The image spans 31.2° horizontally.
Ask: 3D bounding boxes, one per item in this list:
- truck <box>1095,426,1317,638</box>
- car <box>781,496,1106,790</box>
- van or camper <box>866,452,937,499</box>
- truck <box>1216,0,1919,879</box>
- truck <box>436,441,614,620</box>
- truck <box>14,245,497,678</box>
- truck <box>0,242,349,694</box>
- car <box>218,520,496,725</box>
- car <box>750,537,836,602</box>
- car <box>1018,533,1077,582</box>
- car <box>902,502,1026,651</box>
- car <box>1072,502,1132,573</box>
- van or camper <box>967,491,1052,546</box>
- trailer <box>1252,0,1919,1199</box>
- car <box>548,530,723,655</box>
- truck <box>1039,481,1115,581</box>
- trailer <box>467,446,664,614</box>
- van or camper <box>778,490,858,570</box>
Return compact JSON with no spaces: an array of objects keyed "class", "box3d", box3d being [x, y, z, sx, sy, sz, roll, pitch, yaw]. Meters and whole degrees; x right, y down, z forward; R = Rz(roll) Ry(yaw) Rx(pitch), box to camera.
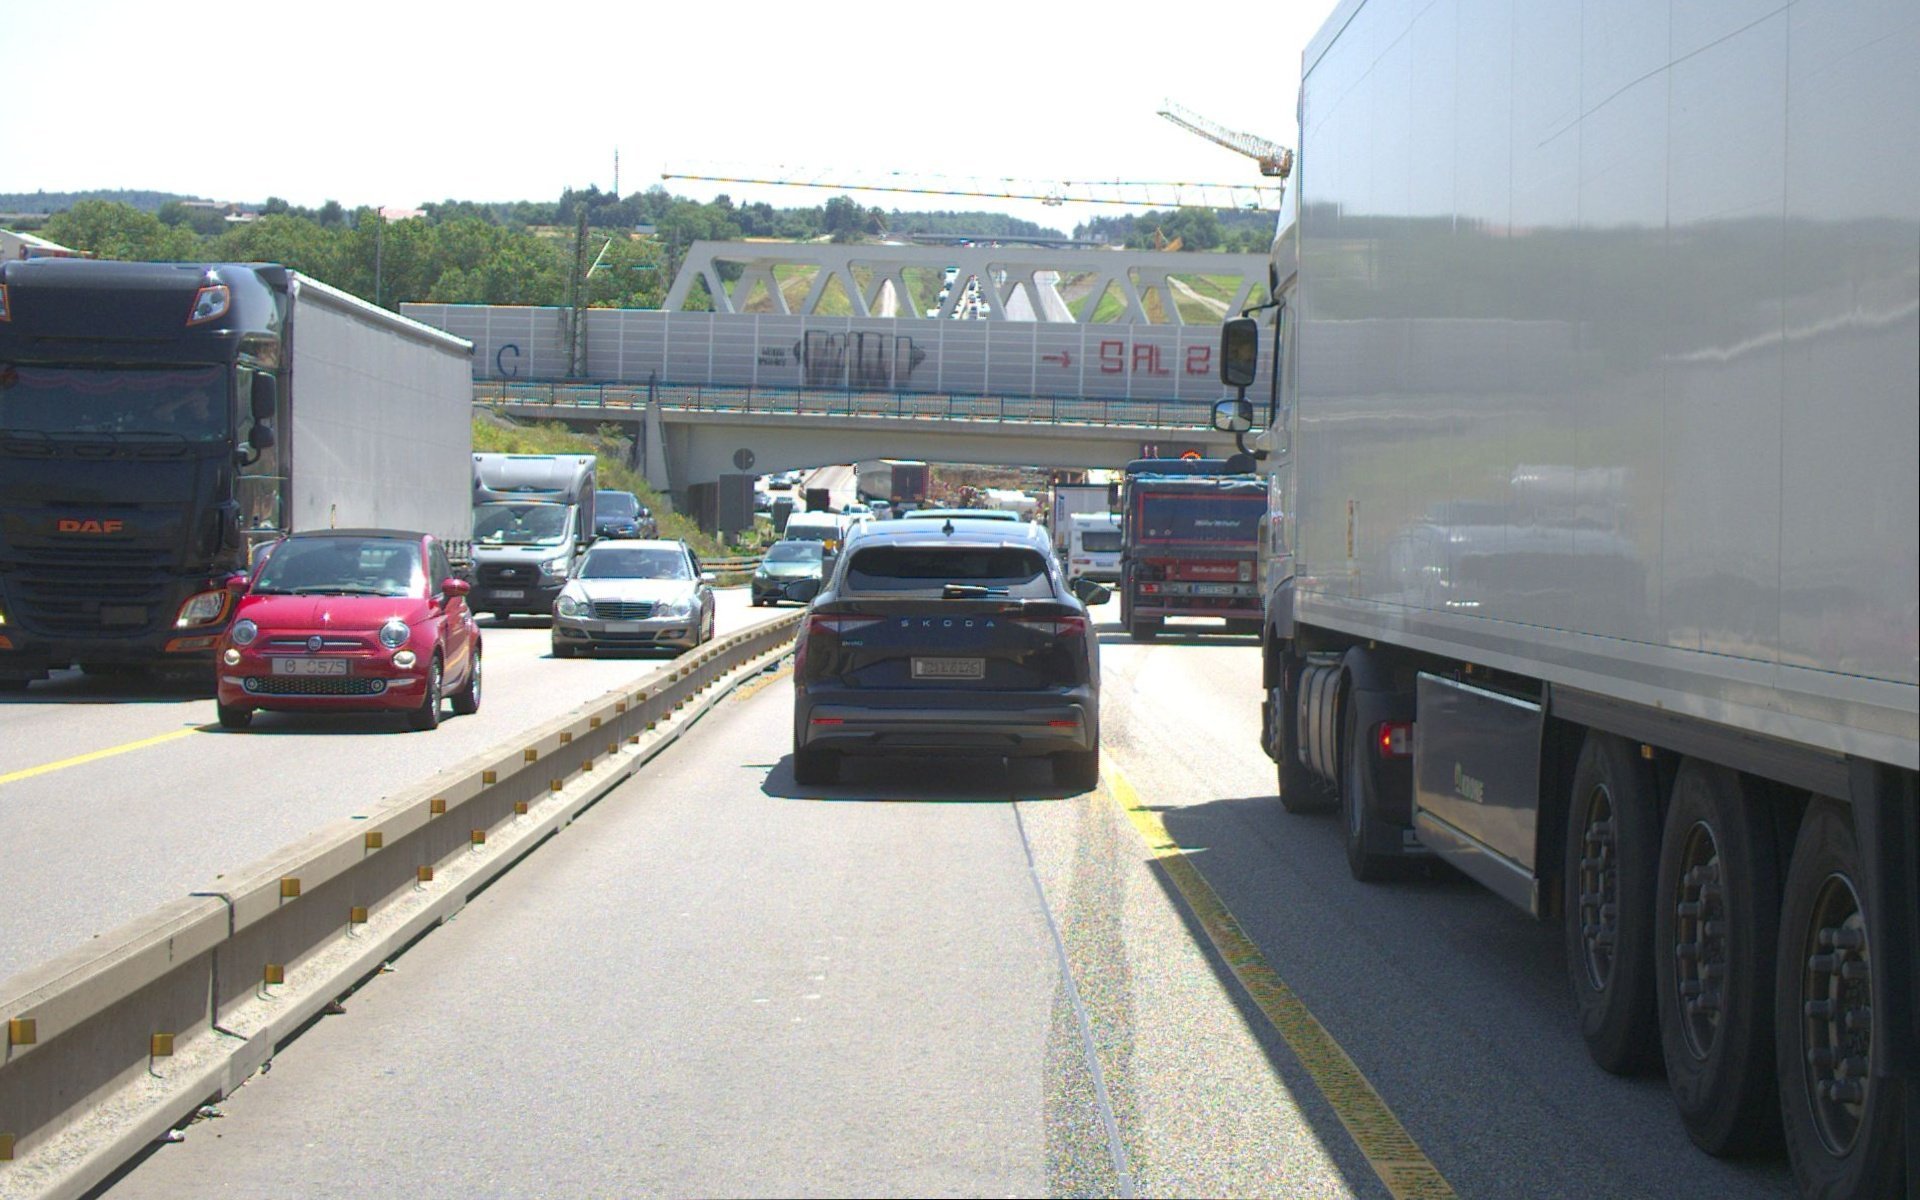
[{"class":"truck","box3d":[3.919,-1.151,57.619,2.814,3.124,12.838,1,1,0]},{"class":"car","box3d":[-0.104,0.216,21.126,1.800,1.615,3.298,2,1,0]},{"class":"van or camper","box3d":[-4.431,-9.377,258.930,3.942,3.408,8.409,1,2,-11]},{"class":"truck","box3d":[2.946,-0.821,18.043,2.776,4.044,4.905,1,1,0]},{"class":"truck","box3d":[-7.344,-1.181,58.623,2.268,2.872,5.851,1,1,0]},{"class":"truck","box3d":[-7.670,-1.468,39.770,2.767,4.073,13.807,1,1,0]},{"class":"truck","box3d":[-7.595,-1.199,32.321,2.767,3.871,4.964,1,1,0]},{"class":"car","box3d":[-4.616,0.130,26.701,1.590,1.481,3.295,1,1,0]},{"class":"car","box3d":[-3.728,-0.701,77.178,1.666,1.423,4.000,0,1,1]},{"class":"car","box3d":[2.516,-1.240,99.312,1.491,1.326,3.244,2,1,-2]},{"class":"car","box3d":[0.076,-0.333,43.853,1.475,1.789,3.297,2,1,1]},{"class":"car","box3d":[4.724,-2.081,114.679,1.661,2.262,3.797,2,1,-2]},{"class":"van or camper","box3d":[3.178,-5.369,224.290,3.942,3.408,8.409,1,2,-10]},{"class":"trailer","box3d":[2.965,-0.665,10.916,2.801,4.044,14.118,1,1,0]},{"class":"car","box3d":[-4.027,-0.132,43.248,1.826,1.481,4.196,1,1,0]},{"class":"truck","box3d":[5.216,-3.107,155.109,3.176,4.303,9.258,1,1,1]},{"class":"trailer","box3d":[-7.392,-1.338,66.027,2.268,2.872,13.043,1,1,0]},{"class":"van or camper","box3d":[-4.576,-2.248,111.405,2.216,2.472,4.750,1,1,1]}]
